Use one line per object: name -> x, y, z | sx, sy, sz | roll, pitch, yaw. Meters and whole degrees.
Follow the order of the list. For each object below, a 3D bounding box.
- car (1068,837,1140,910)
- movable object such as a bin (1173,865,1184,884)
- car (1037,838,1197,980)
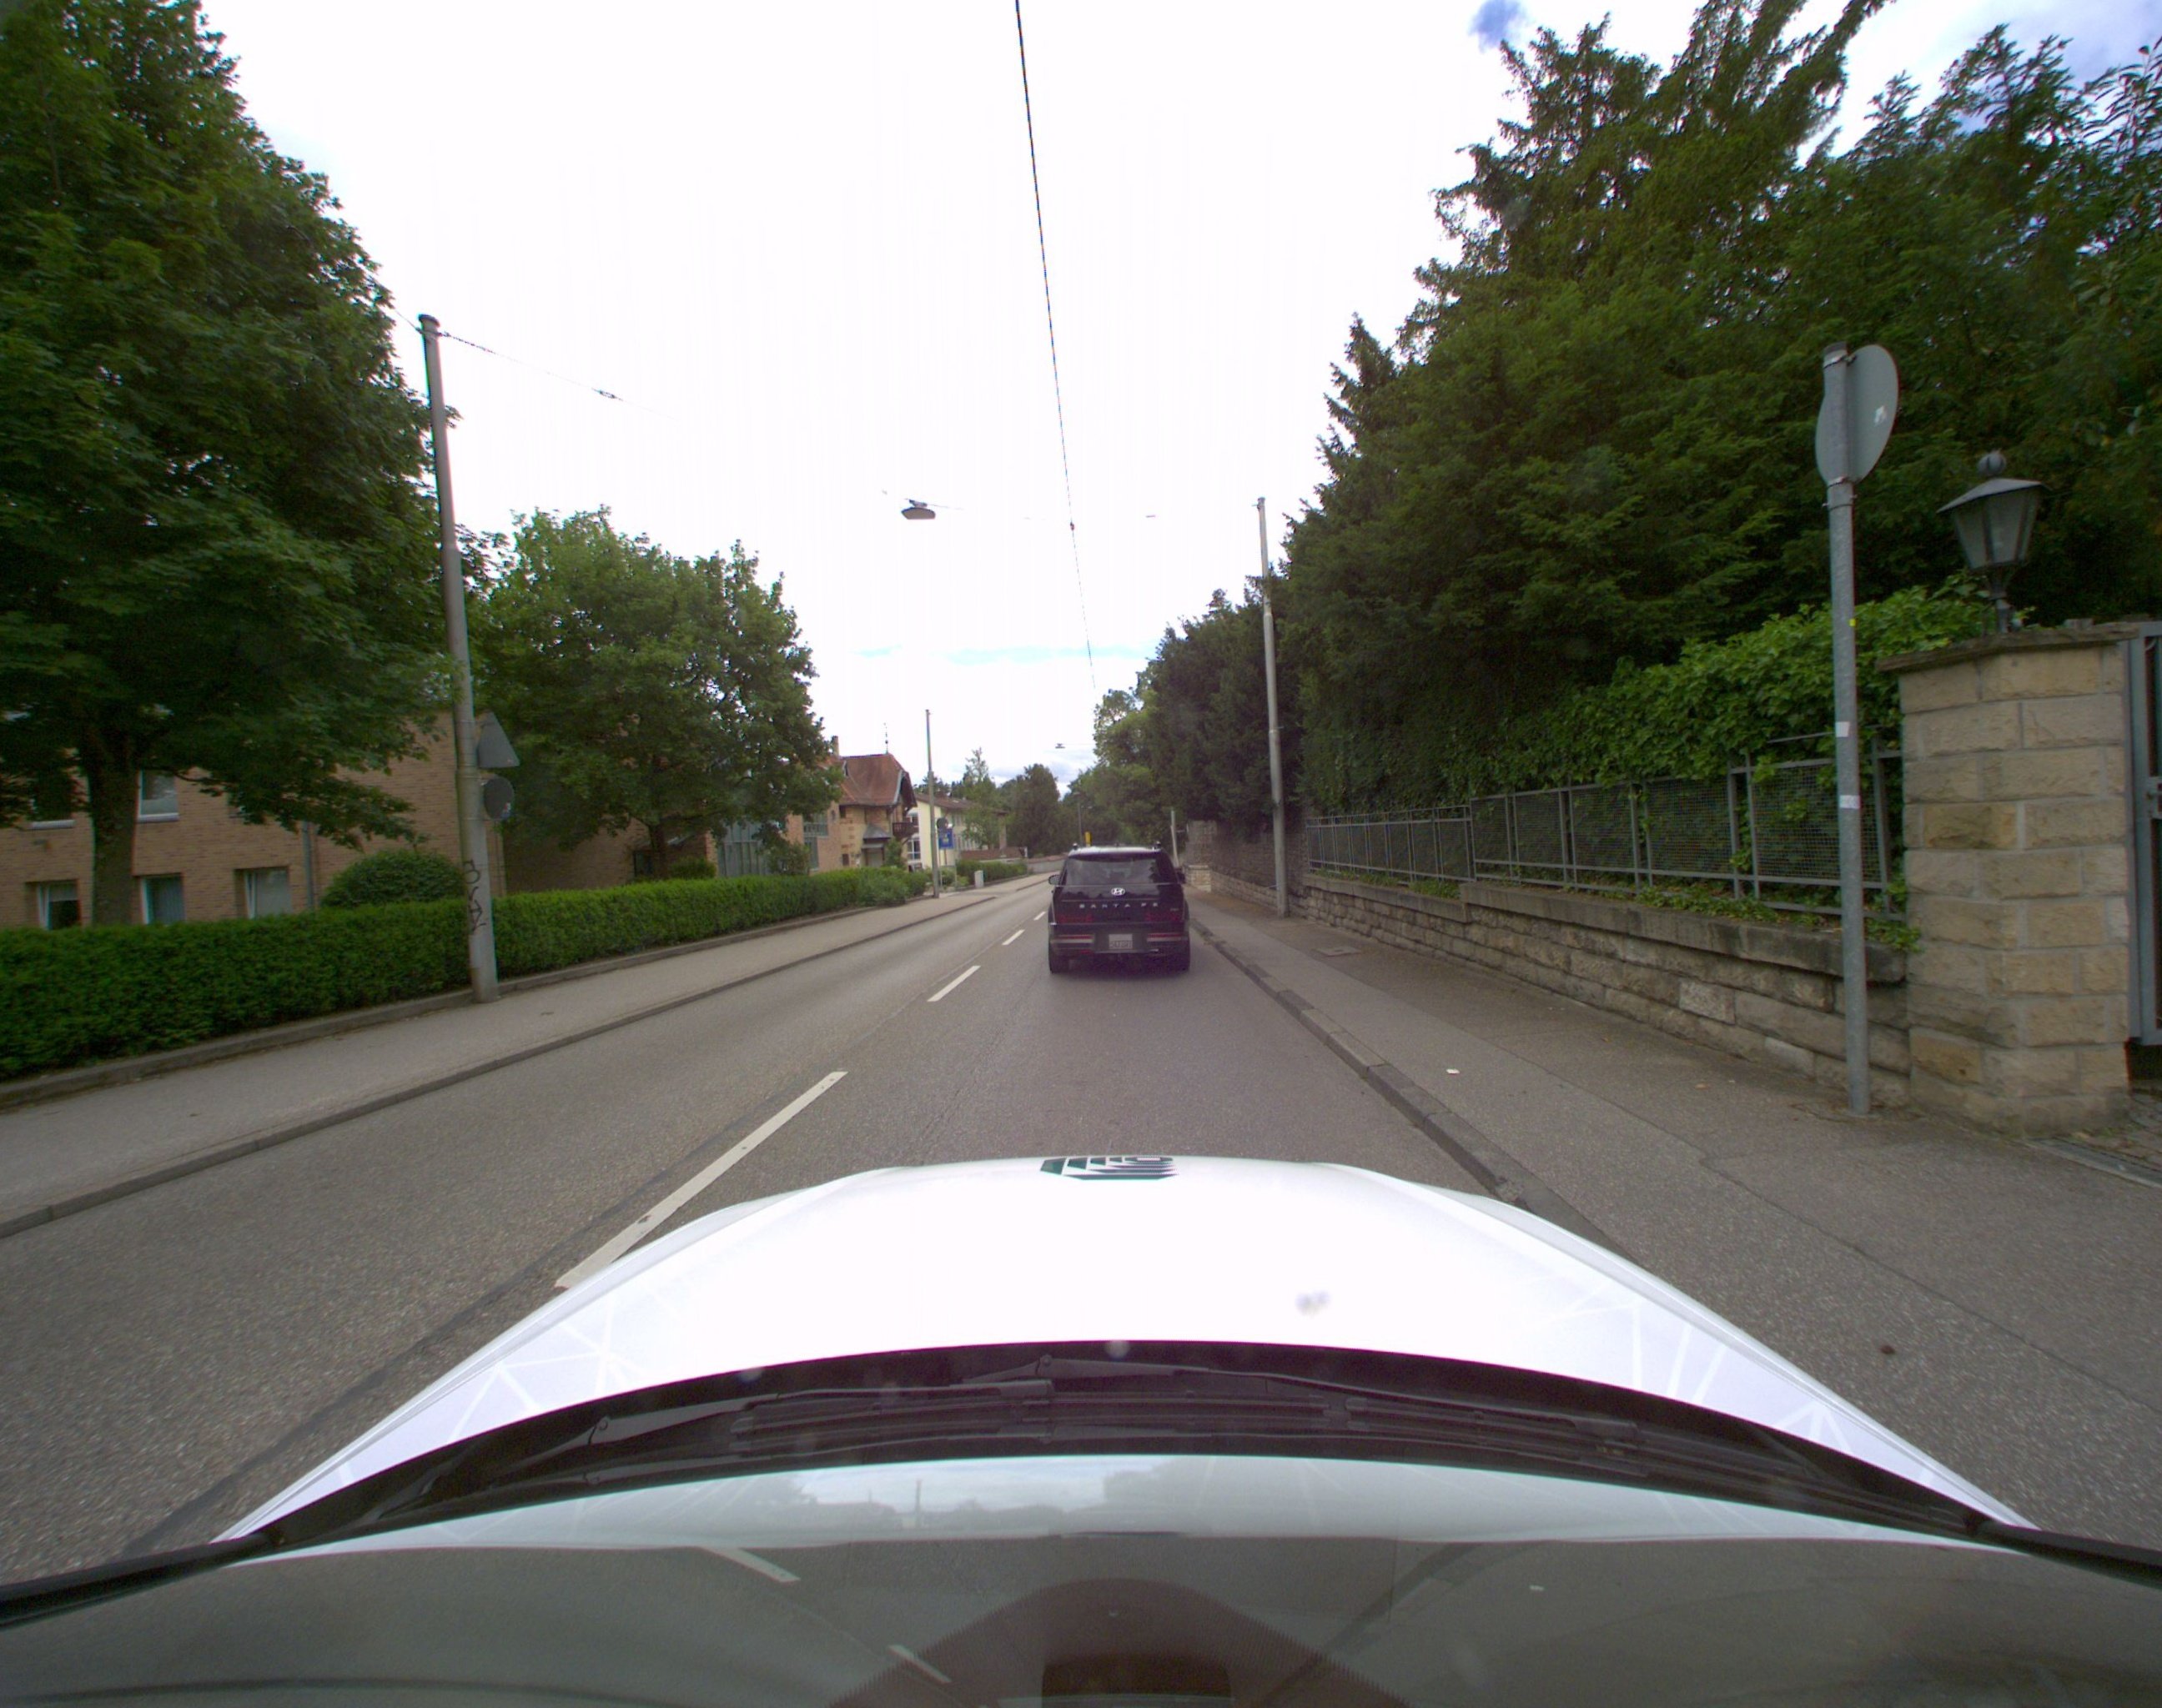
car -> 0.678, 0.494, 24.451 | 1.950, 1.955, 4.224 | -1, 1, 1
movable object such as a bin -> 4.862, 1.029, 40.721 | 0.442, 0.910, 0.395 | -4, -1, 11
car -> 0.540, 0.673, 12.186 | 1.949, 1.713, 4.226 | -1, 0, 2
